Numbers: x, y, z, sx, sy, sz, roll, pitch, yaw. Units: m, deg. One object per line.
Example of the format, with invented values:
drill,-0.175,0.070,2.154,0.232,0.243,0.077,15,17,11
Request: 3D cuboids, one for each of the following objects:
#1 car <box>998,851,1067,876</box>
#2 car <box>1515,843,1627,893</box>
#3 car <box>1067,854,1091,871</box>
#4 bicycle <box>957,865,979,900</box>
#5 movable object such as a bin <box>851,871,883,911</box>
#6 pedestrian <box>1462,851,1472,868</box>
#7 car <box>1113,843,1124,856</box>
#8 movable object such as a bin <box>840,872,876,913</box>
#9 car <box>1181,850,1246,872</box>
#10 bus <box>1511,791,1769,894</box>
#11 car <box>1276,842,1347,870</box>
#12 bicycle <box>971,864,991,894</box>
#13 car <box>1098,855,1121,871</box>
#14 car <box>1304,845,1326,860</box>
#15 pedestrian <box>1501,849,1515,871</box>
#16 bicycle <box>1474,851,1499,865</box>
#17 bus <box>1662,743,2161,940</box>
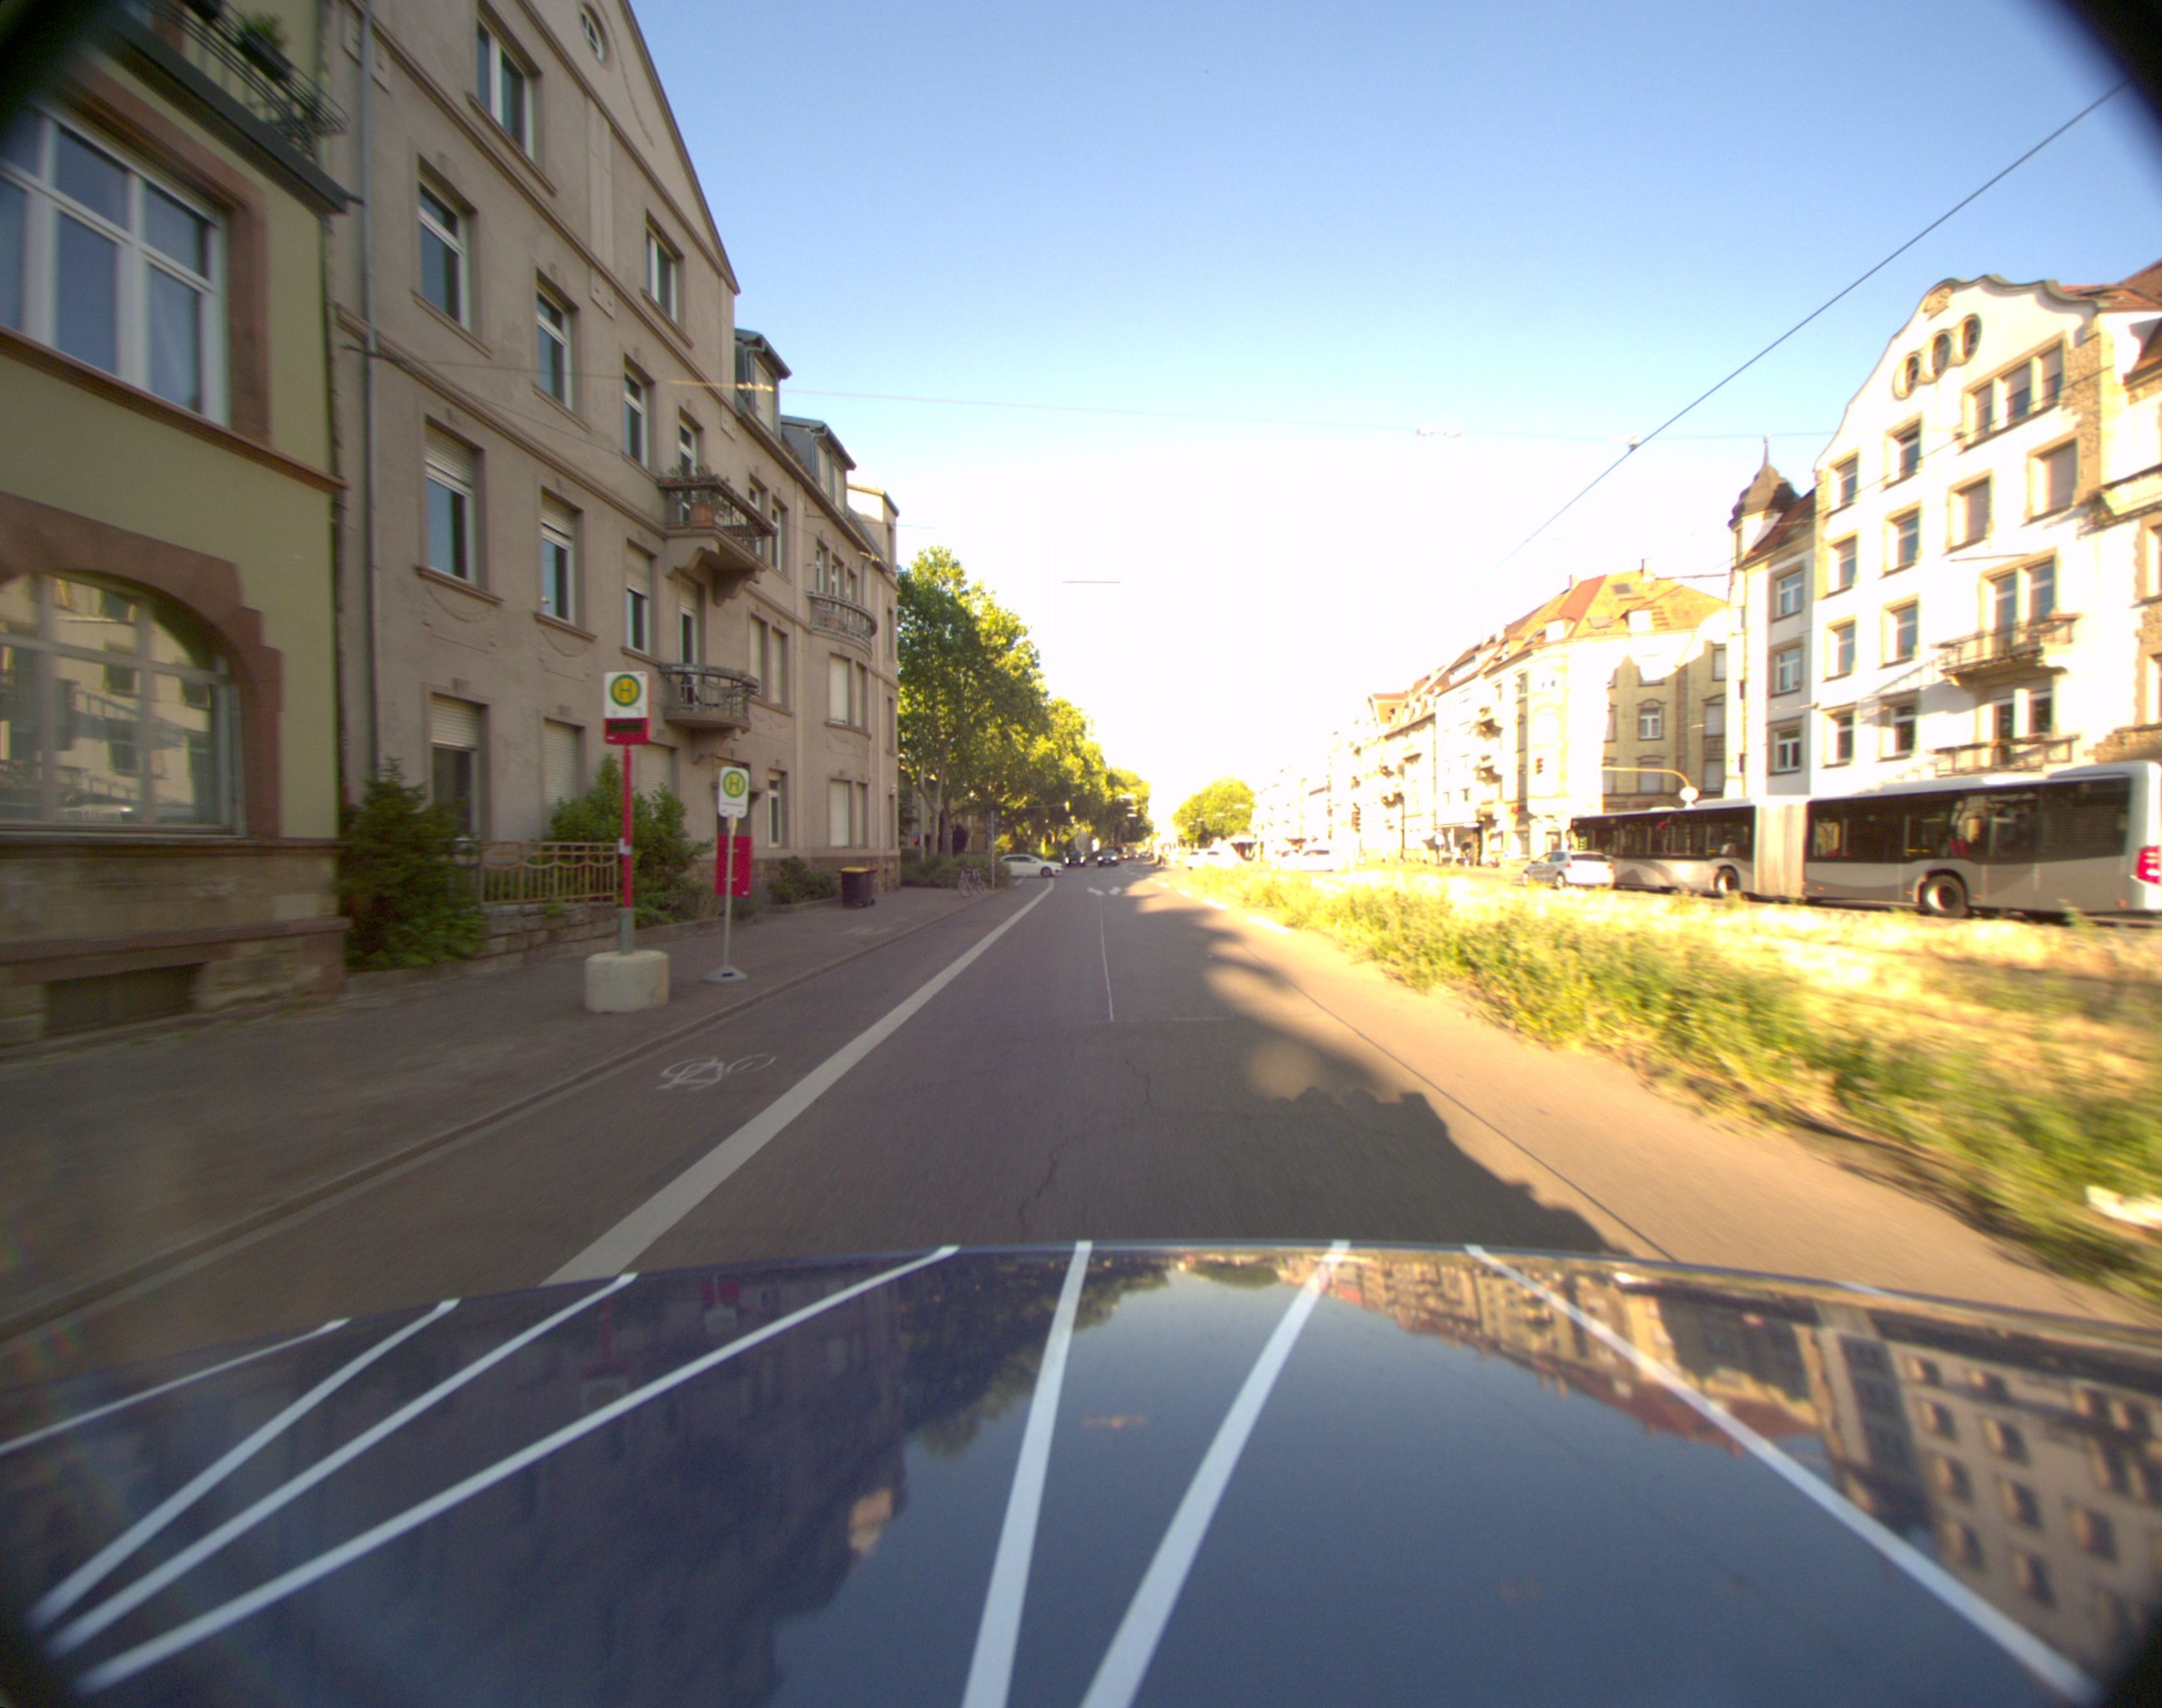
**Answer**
car,-3.040,0.561,47.895,4.050,1.517,1.783,0,2,10
car,17.941,0.466,28.062,1.934,1.674,4.001,0,1,7
car,-0.210,0.846,77.890,1.877,1.587,4.002,0,1,8
bicycle,-3.850,0.950,25.970,0.438,1.092,1.932,0,0,0
movable object such as a bin,-5.907,1.004,20.950,0.570,1.040,0.660,0,2,17
pedestrian,32.349,0.471,63.623,0.553,1.354,0.555,-1,1,4
car,6.945,-0.817,139.378,1.877,2.279,4.001,0,1,5
movable object such as a bin,-5.946,1.022,20.256,0.656,1.040,0.660,0,2,17
car,9.049,0.451,51.866,4.117,1.442,1.840,-1,2,-28
bus,21.000,-0.482,29.708,3.272,3.355,9.899,0,1,4
car,14.663,0.128,48.512,3.995,1.696,1.836,0,2,5
bicycle,-3.805,0.946,29.047,0.370,1.062,1.874,0,0,4
car,2.841,0.891,75.964,1.877,1.587,4.002,0,1,8
car,30.006,-0.212,97.671,1.918,1.889,4.310,0,1,6
pedestrian,31.957,0.431,56.924,0.630,1.631,0.770,0,1,3
bicycle,32.267,0.287,60.466,0.667,1.050,2.503,0,0,1
bus,20.316,-0.344,18.832,3.262,3.355,11.977,0,1,4
